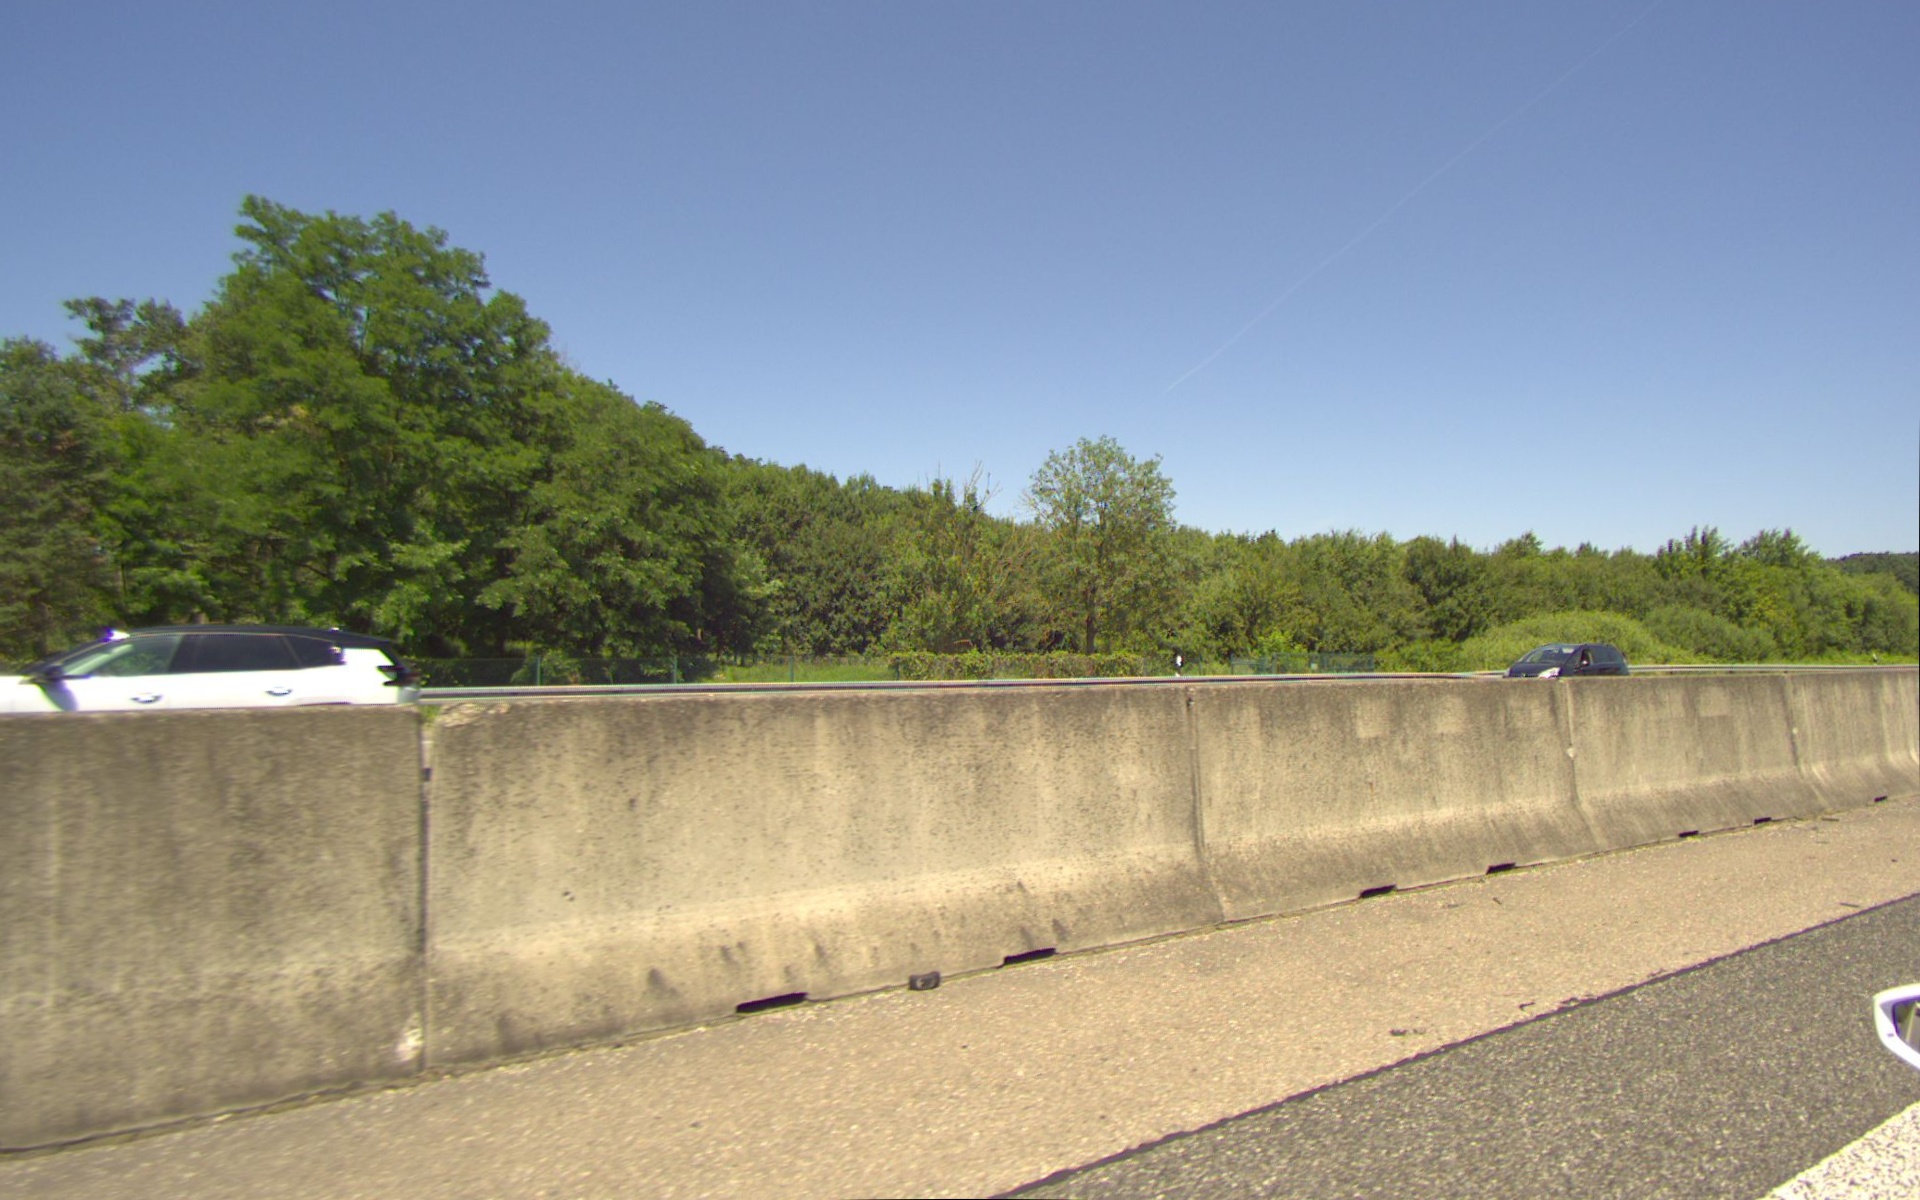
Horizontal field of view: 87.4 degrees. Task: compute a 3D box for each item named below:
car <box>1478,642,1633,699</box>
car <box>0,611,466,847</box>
[{"bbox_3d":[17.825,2.071,30.032,4.629,1.578,1.984,2,-3,-30],"label":"car"},{"bbox_3d":[-7.810,1.205,10.185,4.881,2.040,1.985,2,-4,-30],"label":"car"}]
